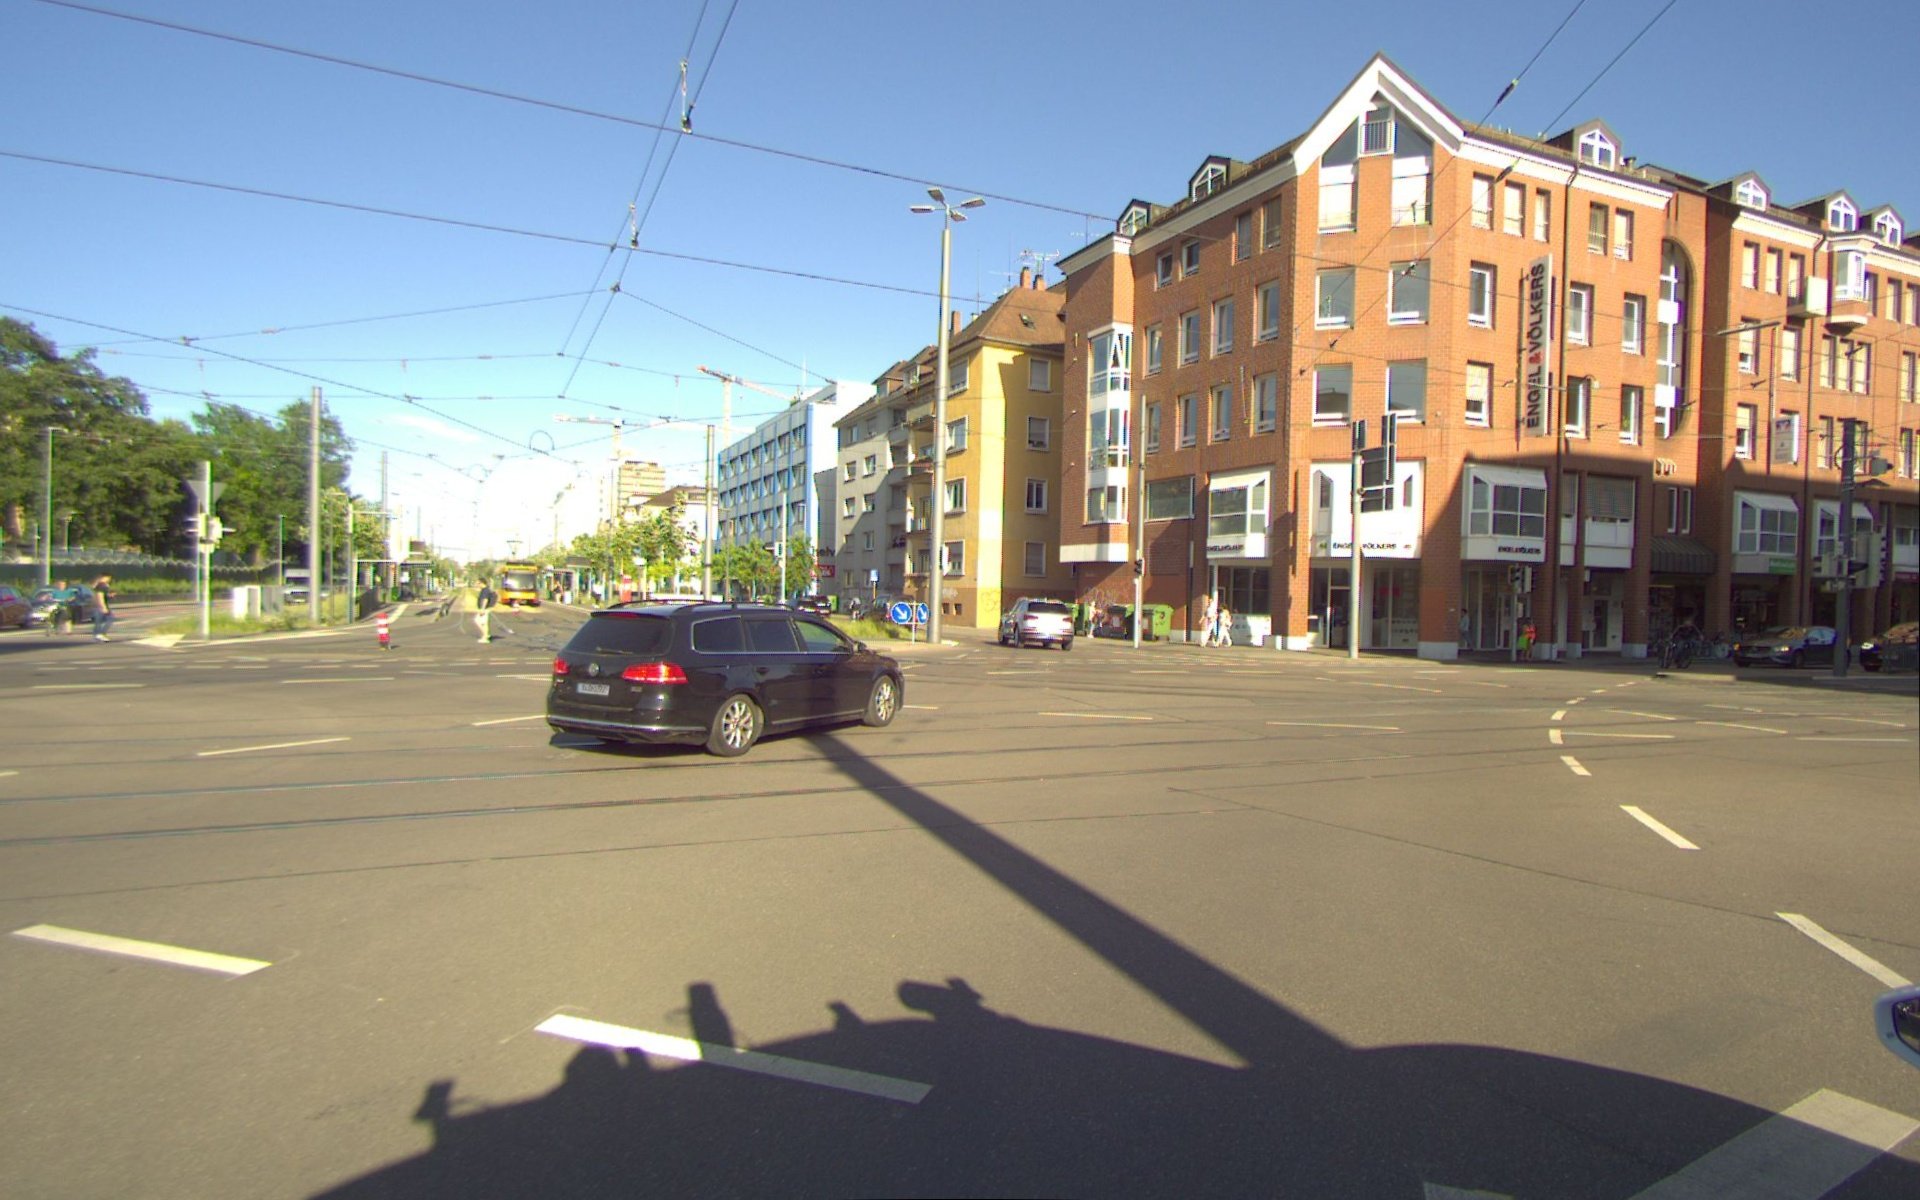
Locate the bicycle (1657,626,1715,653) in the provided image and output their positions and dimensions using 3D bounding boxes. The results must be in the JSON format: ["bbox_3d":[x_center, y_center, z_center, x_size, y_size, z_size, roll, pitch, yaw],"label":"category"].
[{"bbox_3d":[27.798,1.494,38.485,0.578,0.912,1.755,1,1,-23],"label":"bicycle"}]

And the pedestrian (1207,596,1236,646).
[{"bbox_3d":[9.434,0.755,36.243,0.703,1.750,0.685,1,1,-29],"label":"pedestrian"}]

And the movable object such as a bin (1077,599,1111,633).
[{"bbox_3d":[5.982,0.715,44.759,1.083,1.456,0.991,1,1,-29],"label":"movable object such as a bin"}]

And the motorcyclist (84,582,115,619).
[{"bbox_3d":[-35.977,0.016,42.011,0.772,1.544,0.917,1,1,-27],"label":"motorcyclist"}]

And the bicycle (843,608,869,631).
[{"bbox_3d":[-6.196,1.159,59.884,0.622,1.239,2.020,1,1,-35],"label":"bicycle"}]

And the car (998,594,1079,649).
[{"bbox_3d":[2.526,0.670,33.302,1.812,1.657,3.479,1,1,-11],"label":"car"}]

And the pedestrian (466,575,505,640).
[{"bbox_3d":[-13.041,0.204,27.603,0.918,1.733,0.693,1,1,-26],"label":"pedestrian"}]

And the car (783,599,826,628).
[{"bbox_3d":[-9.442,0.796,60.739,1.706,1.572,3.453,1,1,-23],"label":"car"}]

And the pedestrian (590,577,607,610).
[{"bbox_3d":[-22.736,-0.391,63.101,0.794,2.037,0.799,1,1,-35],"label":"pedestrian"}]

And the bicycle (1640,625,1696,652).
[{"bbox_3d":[26.750,1.447,37.981,0.514,0.912,1.706,1,1,-23],"label":"bicycle"}]

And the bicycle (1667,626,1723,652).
[{"bbox_3d":[28.300,1.500,38.711,0.514,0.912,1.706,1,1,-23],"label":"bicycle"}]

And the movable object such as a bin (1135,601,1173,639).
[{"bbox_3d":[7.870,0.810,40.729,1.083,1.456,0.991,1,1,-29],"label":"movable object such as a bin"}]

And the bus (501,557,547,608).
[{"bbox_3d":[-33.811,-1.388,77.651,2.912,3.611,9.366,1,1,-26],"label":"bus"}]

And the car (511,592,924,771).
[{"bbox_3d":[-2.298,0.670,10.817,1.738,1.463,4.521,2,1,29],"label":"car"}]

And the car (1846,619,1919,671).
[{"bbox_3d":[30.206,1.412,31.875,3.740,1.564,1.812,1,-1,-25],"label":"car"}]

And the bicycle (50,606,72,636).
[{"bbox_3d":[-25.075,0.577,28.033,0.317,0.774,1.164,1,1,-35],"label":"bicycle"}]

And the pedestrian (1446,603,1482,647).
[{"bbox_3d":[18.783,0.922,37.444,0.847,1.589,0.887,2,1,-2],"label":"pedestrian"}]

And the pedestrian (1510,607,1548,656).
[{"bbox_3d":[19.508,1.089,34.442,0.765,1.616,0.710,1,4,-22],"label":"pedestrian"}]

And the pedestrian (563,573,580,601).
[{"bbox_3d":[-28.703,-0.960,74.138,0.915,2.037,1.001,1,1,-35],"label":"pedestrian"}]

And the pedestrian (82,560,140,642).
[{"bbox_3d":[-20.830,0.018,24.667,0.782,1.960,0.725,2,1,0],"label":"pedestrian"}]

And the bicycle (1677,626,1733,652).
[{"bbox_3d":[28.904,1.515,38.983,0.514,0.912,1.706,1,1,-23],"label":"bicycle"}]

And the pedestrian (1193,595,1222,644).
[{"bbox_3d":[9.091,0.721,36.941,0.703,1.750,0.685,1,1,-29],"label":"pedestrian"}]

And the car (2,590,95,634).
[{"bbox_3d":[-33.473,0.410,36.979,1.555,1.492,3.687,1,1,-26],"label":"car"}]

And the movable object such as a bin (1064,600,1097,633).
[{"bbox_3d":[5.490,0.753,45.676,1.083,1.456,0.991,1,1,-29],"label":"movable object such as a bin"}]

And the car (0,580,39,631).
[{"bbox_3d":[-30.119,0.164,30.786,1.761,1.529,4.529,1,-1,-29],"label":"car"}]

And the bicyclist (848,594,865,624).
[{"bbox_3d":[-6.151,0.538,59.808,0.608,1.795,0.822,1,1,-36],"label":"bicyclist"}]

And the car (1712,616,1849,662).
[{"bbox_3d":[27.737,1.324,33.957,3.915,1.473,1.816,1,-1,-19],"label":"car"}]

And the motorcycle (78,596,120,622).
[{"bbox_3d":[-35.979,0.372,42.003,0.781,0.998,2.350,1,1,-26],"label":"motorcycle"}]

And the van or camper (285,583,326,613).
[{"bbox_3d":[-47.639,-0.144,73.160,1.955,2.028,4.326,1,1,-27],"label":"van or camper"}]

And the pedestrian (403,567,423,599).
[{"bbox_3d":[-35.771,-1.125,65.689,1.075,2.041,1.006,1,1,-30],"label":"pedestrian"}]

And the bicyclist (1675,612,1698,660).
[{"bbox_3d":[22.952,1.126,31.734,0.475,1.490,0.717,2,1,31],"label":"bicyclist"}]

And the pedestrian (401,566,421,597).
[{"bbox_3d":[-36.853,-1.214,67.463,0.881,2.037,0.922,1,1,-11],"label":"pedestrian"}]

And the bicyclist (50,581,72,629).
[{"bbox_3d":[-25.083,0.137,28.038,0.396,1.333,0.455,1,1,-36],"label":"bicyclist"}]

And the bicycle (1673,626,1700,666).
[{"bbox_3d":[22.892,1.432,31.663,0.483,1.173,1.679,2,1,31],"label":"bicycle"}]

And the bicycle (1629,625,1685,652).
[{"bbox_3d":[26.136,1.437,37.705,0.514,0.912,1.706,1,1,-23],"label":"bicycle"}]

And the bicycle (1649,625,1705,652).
[{"bbox_3d":[27.270,1.468,38.230,0.514,0.912,1.706,1,1,-23],"label":"bicycle"}]

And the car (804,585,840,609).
[{"bbox_3d":[-9.952,-0.228,72.273,1.543,1.639,3.296,1,1,-26],"label":"car"}]

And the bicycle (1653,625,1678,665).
[{"bbox_3d":[22.429,1.413,31.955,0.483,1.173,1.712,2,1,31],"label":"bicycle"}]

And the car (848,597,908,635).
[{"bbox_3d":[-3.942,0.721,47.726,1.557,1.639,3.757,1,1,-26],"label":"car"}]

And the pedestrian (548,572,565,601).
[{"bbox_3d":[-29.524,-0.994,73.561,0.915,2.037,1.001,1,1,-35],"label":"pedestrian"}]
